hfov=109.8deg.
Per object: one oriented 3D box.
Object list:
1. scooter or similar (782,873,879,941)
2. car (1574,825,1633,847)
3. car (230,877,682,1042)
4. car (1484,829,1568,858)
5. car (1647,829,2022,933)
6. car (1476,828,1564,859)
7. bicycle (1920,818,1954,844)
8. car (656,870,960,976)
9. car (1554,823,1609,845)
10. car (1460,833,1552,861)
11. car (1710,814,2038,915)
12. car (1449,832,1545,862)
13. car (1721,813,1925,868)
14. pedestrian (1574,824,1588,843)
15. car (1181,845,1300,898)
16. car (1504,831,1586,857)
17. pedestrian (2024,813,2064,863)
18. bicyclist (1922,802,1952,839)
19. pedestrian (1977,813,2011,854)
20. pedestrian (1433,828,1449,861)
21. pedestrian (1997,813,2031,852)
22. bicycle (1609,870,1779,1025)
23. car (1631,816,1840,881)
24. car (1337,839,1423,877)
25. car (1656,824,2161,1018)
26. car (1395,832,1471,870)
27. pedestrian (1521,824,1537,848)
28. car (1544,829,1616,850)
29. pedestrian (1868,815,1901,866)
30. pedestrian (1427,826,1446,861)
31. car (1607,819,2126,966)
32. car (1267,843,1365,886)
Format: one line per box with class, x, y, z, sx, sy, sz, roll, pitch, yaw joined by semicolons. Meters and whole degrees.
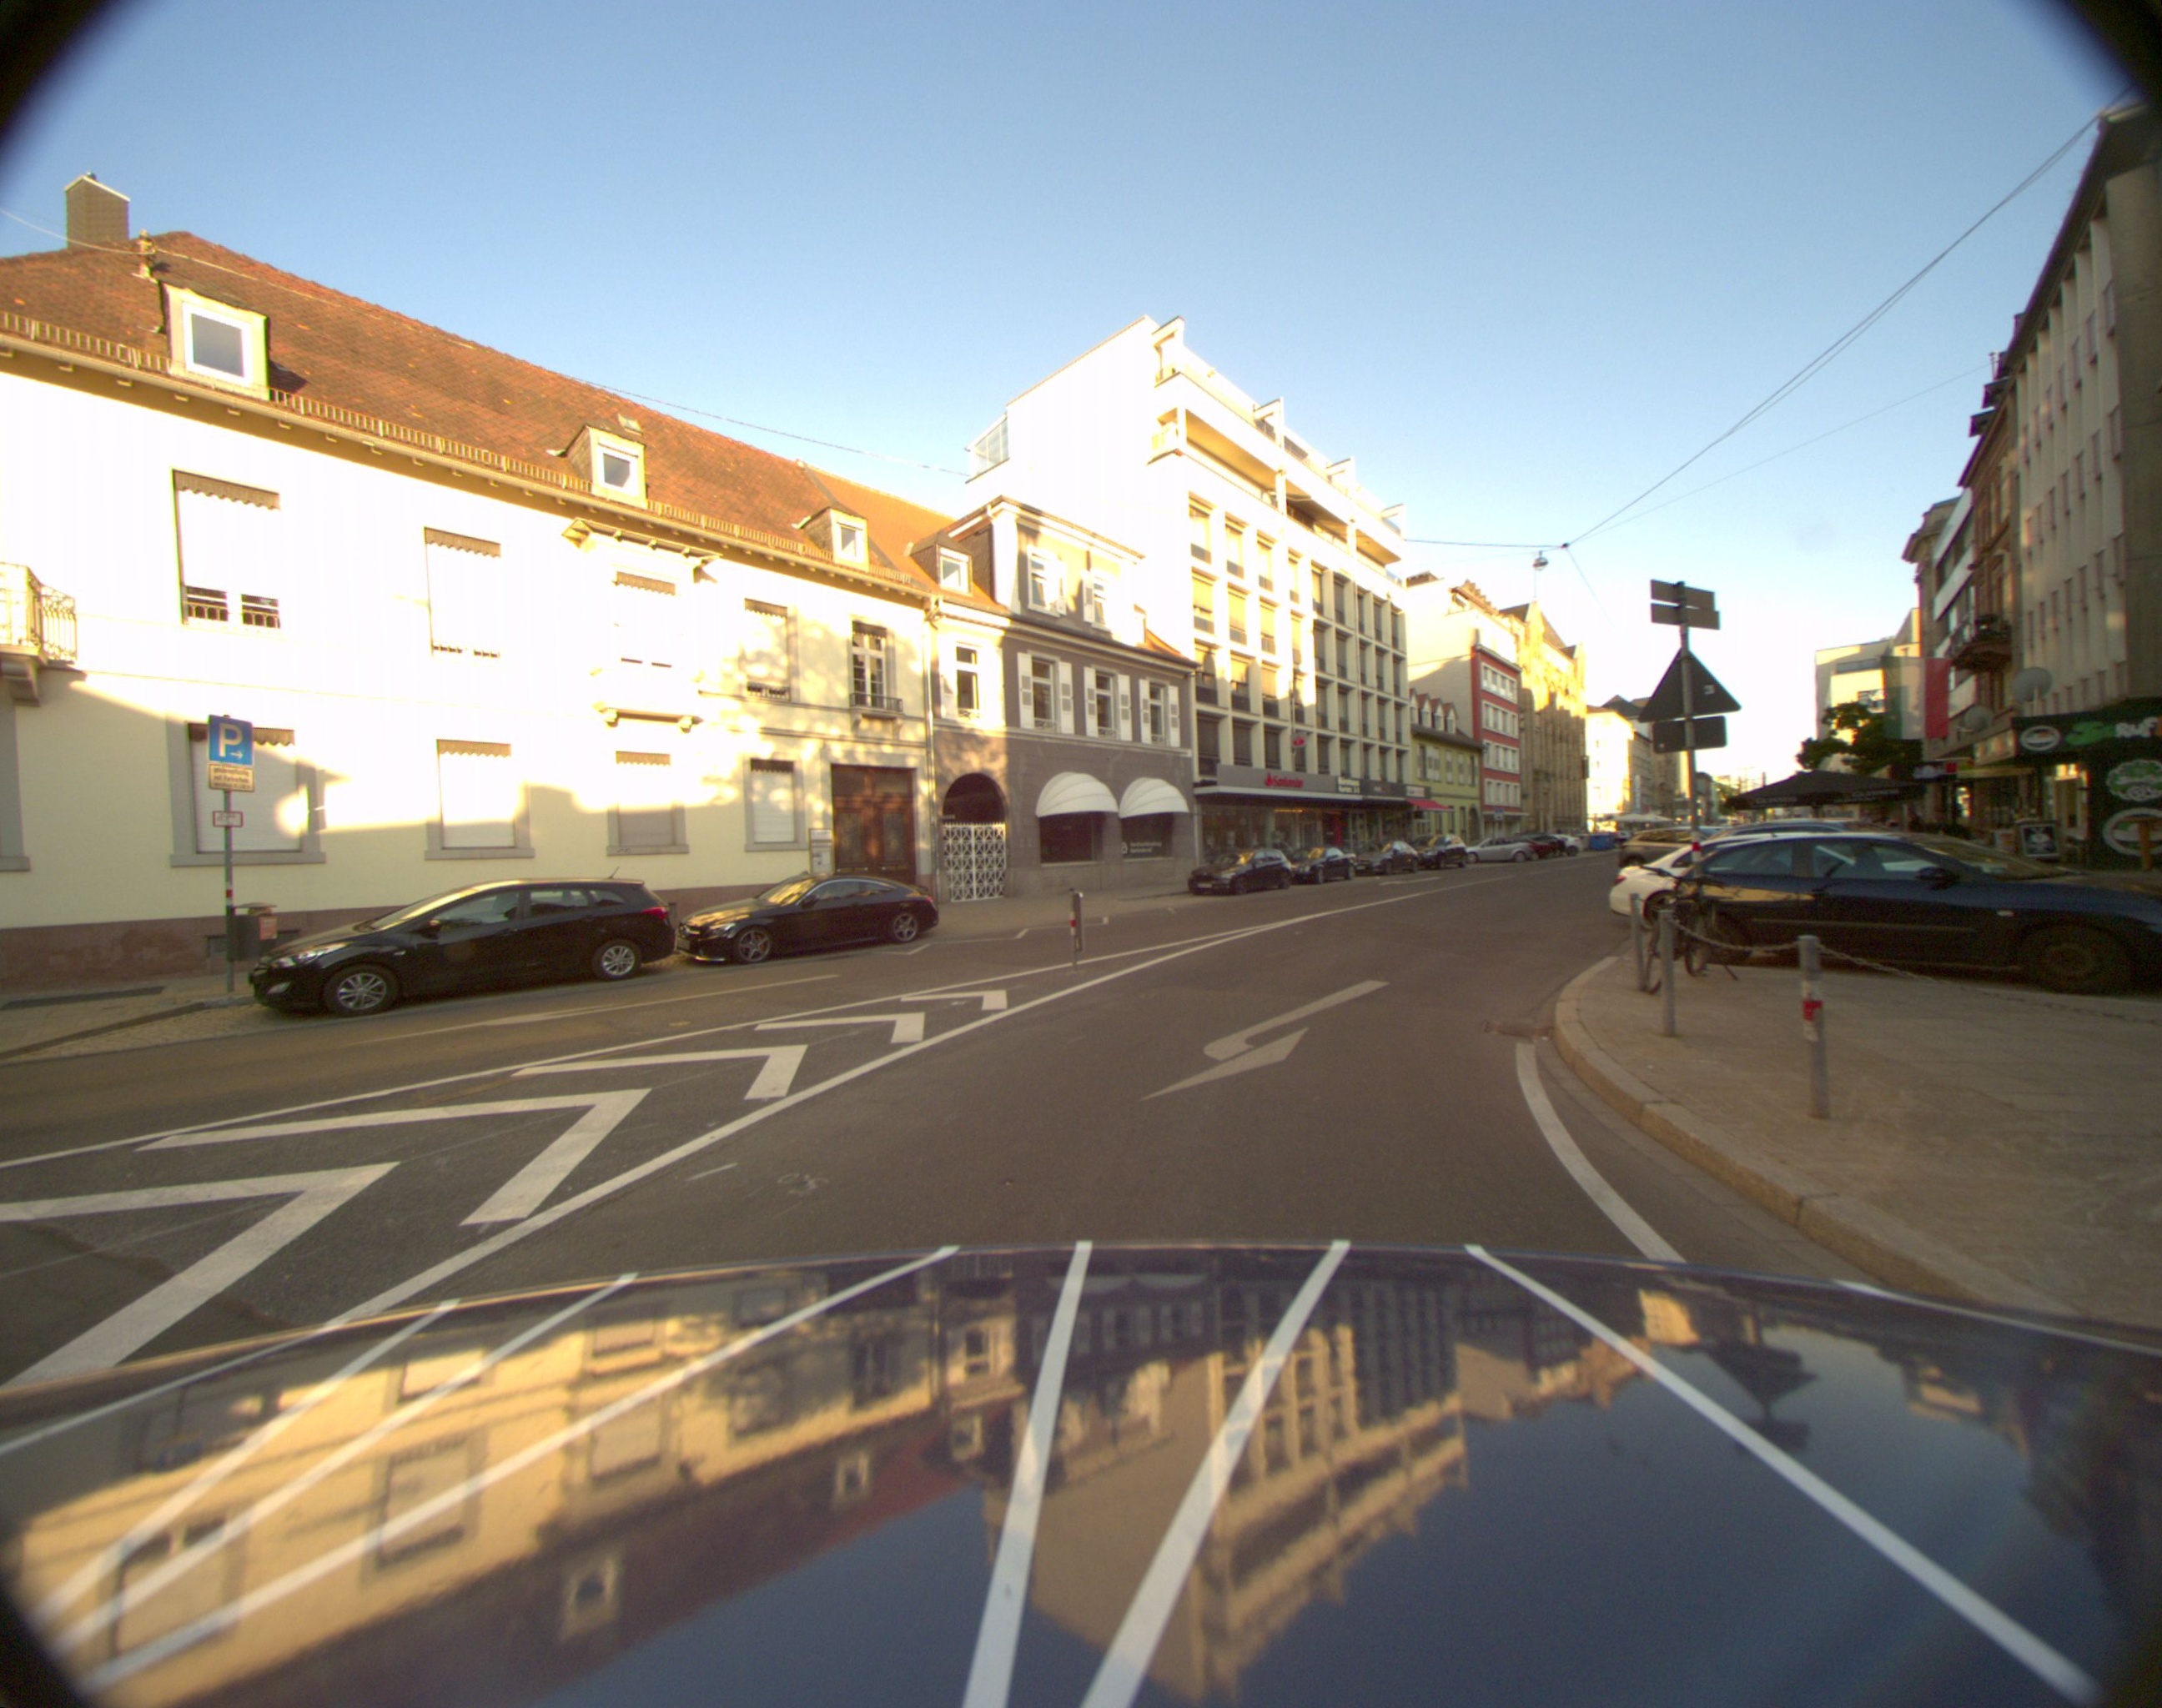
scooter or similar;-5.157;1.058;15.687;1.773;1.226;0.602;-3;4;-36
car;45.124;-1.552;65.712;3.829;1.743;1.756;-2;1;19
car;-8.172;1.204;10.350;1.802;1.532;4.439;-2;0;44
car;27.887;-0.671;47.744;4.221;1.607;1.756;-2;1;14
car;12.556;0.368;13.071;1.712;1.439;4.244;-2;1;-21
car;26.312;-0.609;45.651;4.222;1.667;1.755;-2;1;9
bicycle;38.192;-1.040;33.912;0.766;1.108;2.182;-2;1;43
car;-4.752;1.109;13.845;1.774;1.386;4.867;-2;0;45
car;49.234;-1.955;74.811;4.219;1.871;1.756;-2;1;19
car;24.370;-0.414;43.685;4.222;1.431;1.755;-2;1;9
car;15.103;0.152;14.789;1.795;1.647;4.043;-2;1;-21
car;22.654;-0.372;41.458;4.223;1.431;1.754;-2;1;4
car;26.120;-0.447;27.001;1.910;1.723;4.834;-2;1;-20
pedestrian;48.092;-1.940;73.022;1.014;1.789;0.848;-3;1;-41
car;5.214;0.520;24.542;1.743;1.438;4.257;-2;1;44
car;30.224;-0.647;49.580;4.221;1.465;1.756;-2;1;14
pedestrian;25.329;-0.418;19.996;0.573;1.301;0.577;-1;1;44
bicyclist;38.148;-1.490;33.861;0.766;1.550;0.814;-2;1;43
pedestrian;28.237;-0.619;23.500;0.575;1.238;0.677;-1;1;43
pedestrian;21.335;-0.570;44.996;0.611;1.876;0.720;-1;1;42
pedestrian;29.711;-0.682;24.207;0.575;1.238;0.677;-1;1;43
bicycle;5.538;0.770;6.829;1.807;1.119;0.726;-3;-1;-38
car;18.506;-0.087;21.707;1.855;1.619;4.045;-3;0;-25
car;12.844;0.140;32.509;1.743;1.438;4.567;-2;1;45
car;8.347;0.564;7.468;1.742;1.452;3.858;-3;-2;-23
car;16.867;-0.179;36.292;4.371;1.649;1.828;-3;1;-45
pedestrian;37.034;-1.520;62.783;1.014;1.933;0.848;-3;1;-41
car;38.228;-1.117;58.308;4.221;1.465;1.756;-2;1;14
pedestrian;22.727;-0.389;21.502;0.575;1.408;0.677;-1;1;43
pedestrian;21.091;-0.616;45.095;0.761;2.055;0.720;-1;1;42
car;10.200;0.462;10.491;1.770;1.503;4.622;-3;-1;-19
car;8.889;0.349;28.497;1.743;1.379;4.510;-2;1;42
